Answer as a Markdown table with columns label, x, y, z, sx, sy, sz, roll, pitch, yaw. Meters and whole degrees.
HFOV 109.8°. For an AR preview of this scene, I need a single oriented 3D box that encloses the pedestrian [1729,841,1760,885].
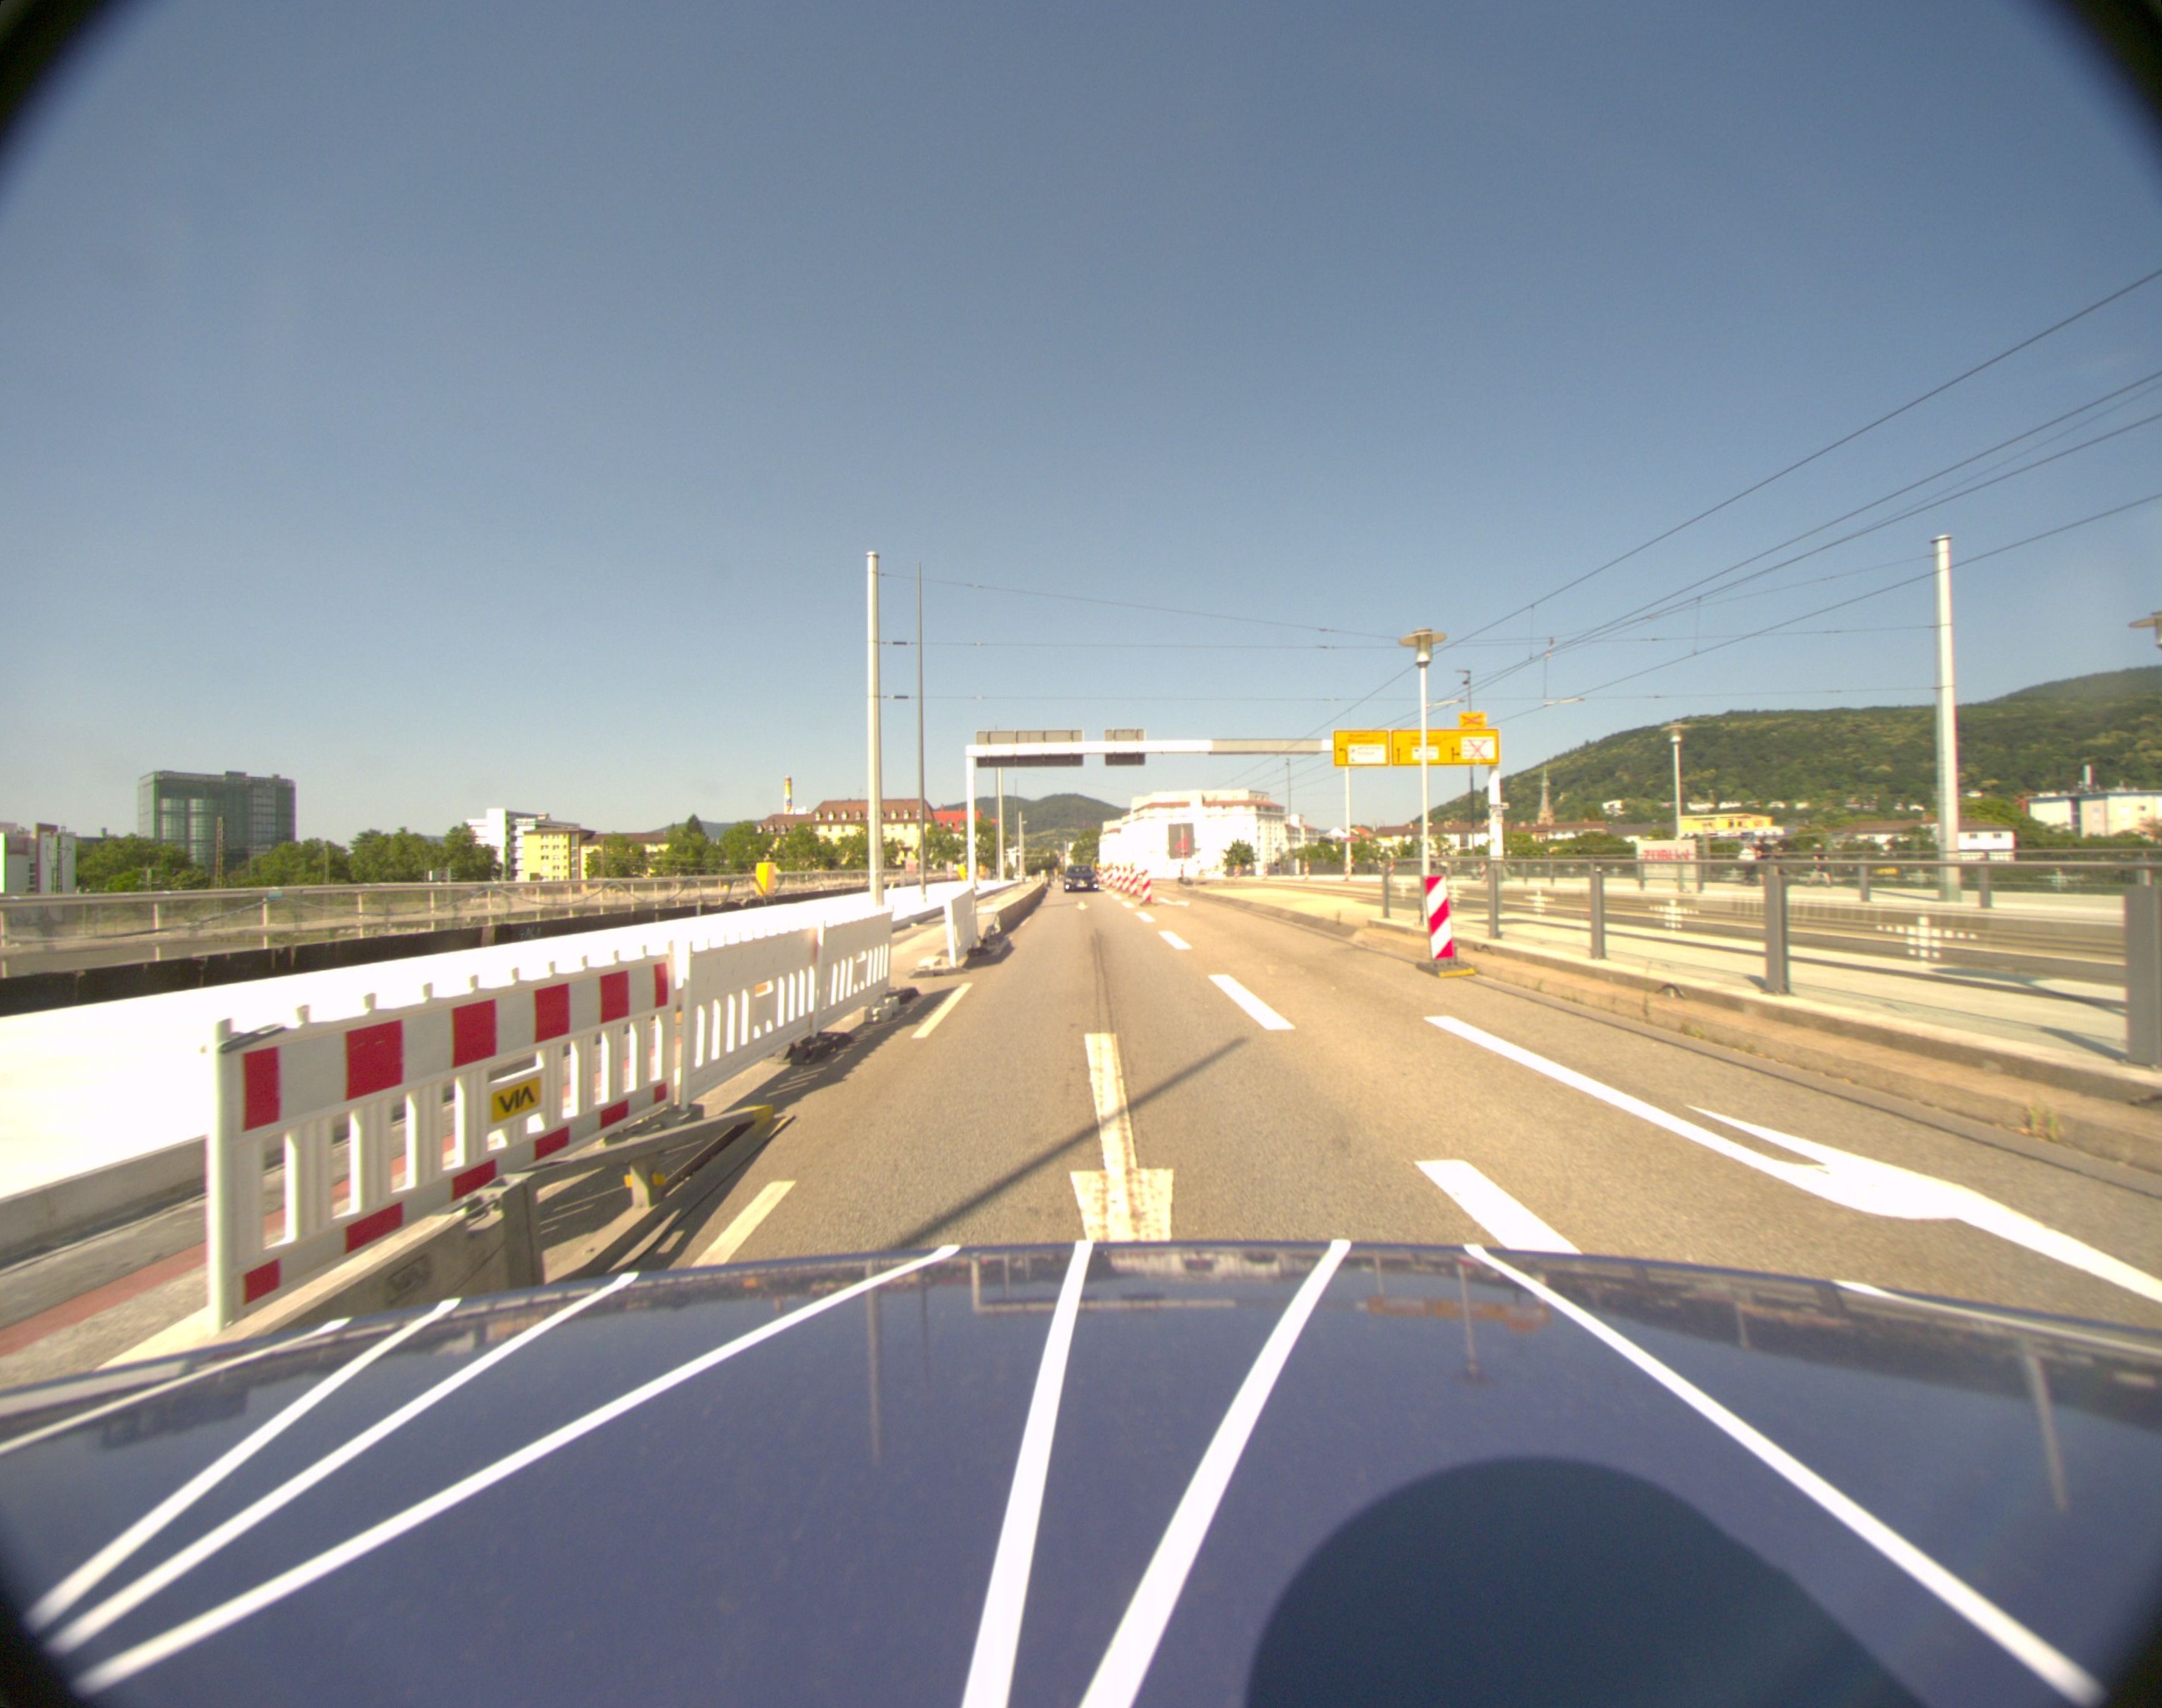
| label | x | y | z | sx | sy | sz | roll | pitch | yaw |
| --- | --- | --- | --- | --- | --- | --- | --- | --- | --- |
| pedestrian | 25.863 | 0.340 | 29.616 | 0.487 | 1.677 | 0.808 | -1 | 0 | 1 |

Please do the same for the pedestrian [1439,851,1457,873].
| label | x | y | z | sx | sy | sz | roll | pitch | yaw |
| --- | --- | --- | --- | --- | --- | --- | --- | --- | --- |
| pedestrian | 26.072 | 0.592 | 53.927 | 0.721 | 1.535 | 0.889 | -3 | -1 | -3 |

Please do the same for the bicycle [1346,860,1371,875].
| label | x | y | z | sx | sy | sz | roll | pitch | yaw |
| --- | --- | --- | --- | --- | --- | --- | --- | --- | --- |
| bicycle | 23.612 | 1.142 | 64.734 | 0.858 | 1.187 | 3.072 | -2 | -1 | -3 |

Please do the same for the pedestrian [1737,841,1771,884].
| label | x | y | z | sx | sy | sz | roll | pitch | yaw |
| --- | --- | --- | --- | --- | --- | --- | --- | --- | --- |
| pedestrian | 26.531 | 0.344 | 29.957 | 0.599 | 1.677 | 0.818 | -1 | 0 | 1 |

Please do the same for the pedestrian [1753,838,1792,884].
| label | x | y | z | sx | sy | sz | roll | pitch | yaw |
| --- | --- | --- | --- | --- | --- | --- | --- | --- | --- |
| pedestrian | 25.635 | 0.263 | 28.188 | 0.754 | 1.677 | 0.732 | -1 | 0 | 1 |

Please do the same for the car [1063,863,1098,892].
| label | x | y | z | sx | sy | sz | roll | pitch | yaw |
| --- | --- | --- | --- | --- | --- | --- | --- | --- | --- |
| car | -0.037 | 1.209 | 40.602 | 1.698 | 1.388 | 4.363 | -3 | -1 | -1 |

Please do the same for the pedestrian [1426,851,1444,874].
| label | x | y | z | sx | sy | sz | roll | pitch | yaw |
| --- | --- | --- | --- | --- | --- | --- | --- | --- | --- |
| pedestrian | 25.226 | 0.617 | 54.105 | 0.746 | 1.632 | 0.895 | -3 | -1 | -3 |

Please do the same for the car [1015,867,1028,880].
| label | x | y | z | sx | sy | sz | roll | pitch | yaw |
| --- | --- | --- | --- | --- | --- | --- | --- | --- | --- |
| car | -10.566 | 3.534 | 135.891 | 1.938 | 2.077 | 6.472 | -1 | -2 | -1 |

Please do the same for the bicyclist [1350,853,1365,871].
| label | x | y | z | sx | sy | sz | roll | pitch | yaw |
| --- | --- | --- | --- | --- | --- | --- | --- | --- | --- |
| bicyclist | 23.581 | 0.699 | 64.856 | 0.858 | 1.510 | 0.817 | -2 | -1 | -4 |

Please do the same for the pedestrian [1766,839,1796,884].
| label | x | y | z | sx | sy | sz | roll | pitch | yaw |
| --- | --- | --- | --- | --- | --- | --- | --- | --- | --- |
| pedestrian | 26.322 | 0.273 | 28.585 | 0.384 | 1.677 | 0.770 | -1 | 0 | 1 |

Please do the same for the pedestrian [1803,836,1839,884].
| label | x | y | z | sx | sy | sz | roll | pitch | yaw |
| --- | --- | --- | --- | --- | --- | --- | --- | --- | --- |
| pedestrian | 26.648 | 0.218 | 27.378 | 0.505 | 1.677 | 0.773 | -1 | 0 | 1 |

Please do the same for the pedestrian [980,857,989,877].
| label | x | y | z | sx | sy | sz | roll | pitch | yaw |
| --- | --- | --- | --- | --- | --- | --- | --- | --- | --- |
| pedestrian | -9.292 | 1.275 | 73.005 | 0.733 | 1.953 | 1.016 | 0 | -1 | -2 |
